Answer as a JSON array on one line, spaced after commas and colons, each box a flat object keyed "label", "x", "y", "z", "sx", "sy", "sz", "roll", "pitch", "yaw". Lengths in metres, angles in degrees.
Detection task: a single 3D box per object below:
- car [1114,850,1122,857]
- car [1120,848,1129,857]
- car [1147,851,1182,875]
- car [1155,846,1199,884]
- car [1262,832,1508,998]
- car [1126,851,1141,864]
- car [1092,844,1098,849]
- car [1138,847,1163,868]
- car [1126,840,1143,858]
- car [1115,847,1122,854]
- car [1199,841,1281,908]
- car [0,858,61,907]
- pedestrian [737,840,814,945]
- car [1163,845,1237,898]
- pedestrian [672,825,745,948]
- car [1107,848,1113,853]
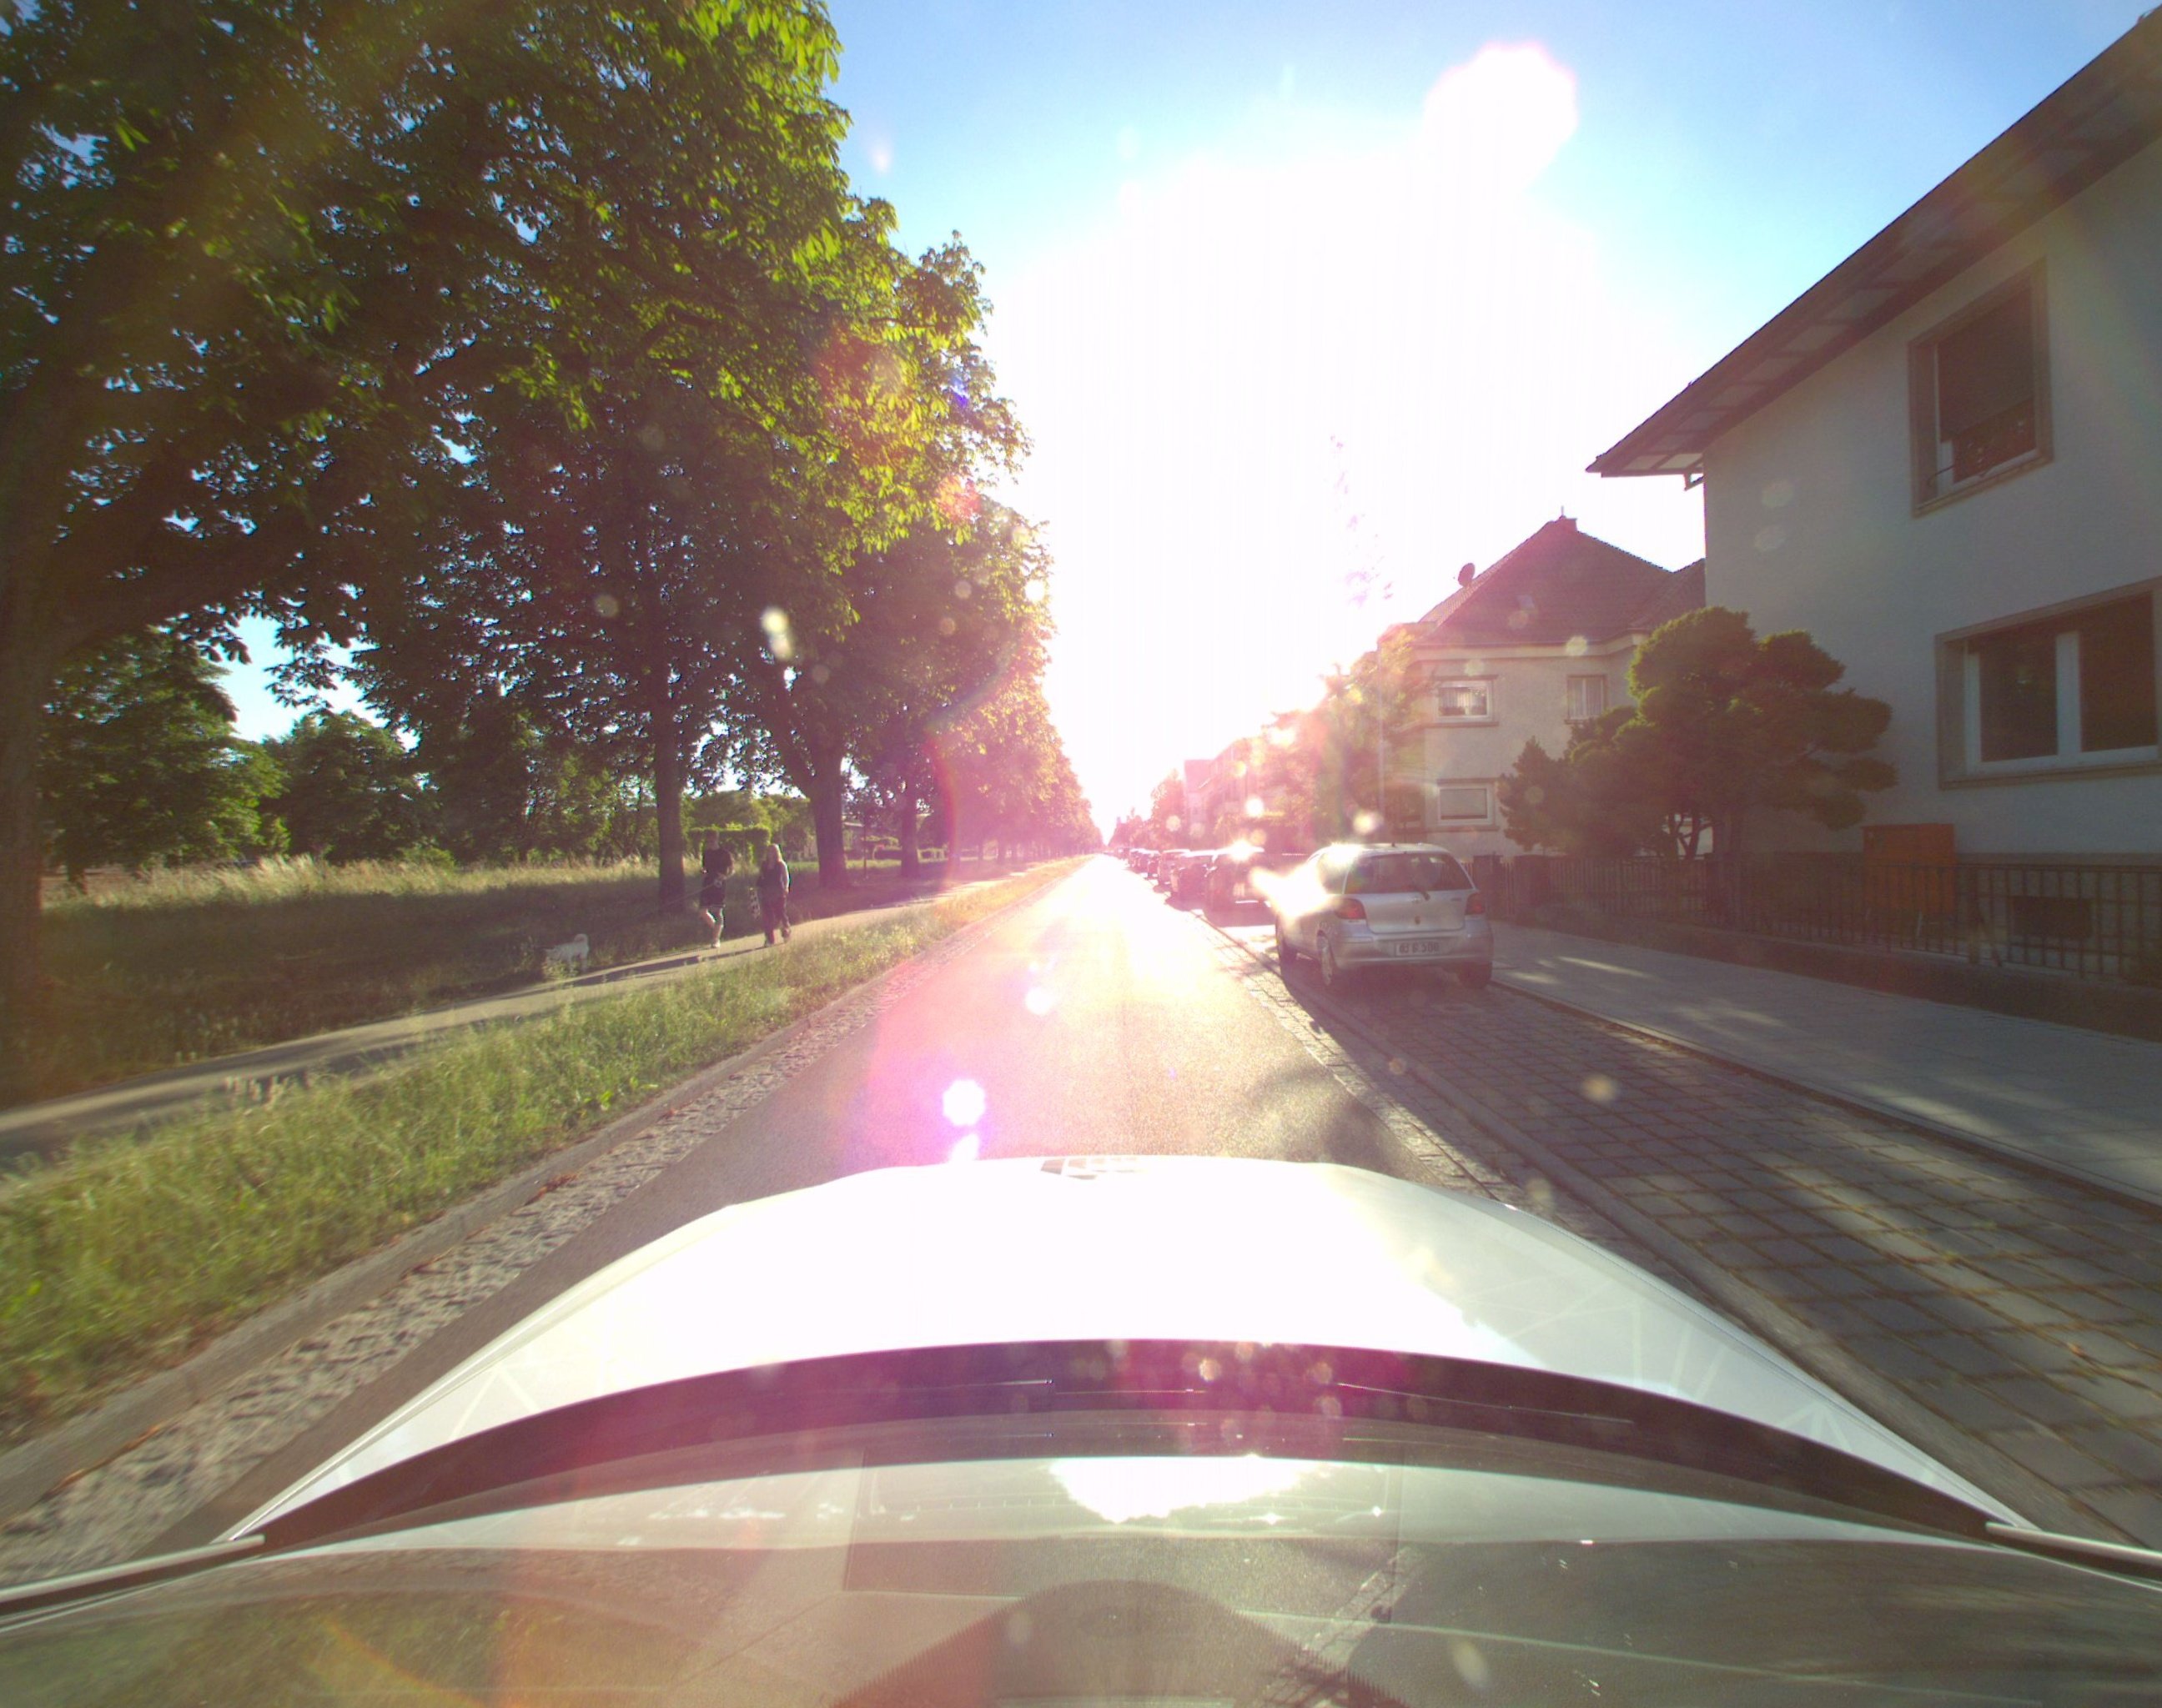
[{"label": "car", "x": 8.185, "y": -0.059, "z": 178.500, "sx": 1.645, "sy": 1.541, "sz": 3.269, "roll": 0, "pitch": 0, "yaw": 3}, {"label": "car", "x": 7.447, "y": -0.304, "z": 139.453, "sx": 1.645, "sy": 1.541, "sz": 3.269, "roll": 0, "pitch": 0, "yaw": 3}, {"label": "car", "x": 4.602, "y": 0.464, "z": 45.266, "sx": 1.686, "sy": 1.248, "sz": 3.500, "roll": -2, "pitch": 0, "yaw": 3}, {"label": "car", "x": 4.107, "y": 0.433, "z": 35.229, "sx": 1.586, "sy": 1.510, "sz": 3.594, "roll": -2, "pitch": 0, "yaw": 2}, {"label": "car", "x": 3.315, "y": 0.566, "z": 9.617, "sx": 1.621, "sy": 1.504, "sz": 3.635, "roll": -3, "pitch": 1, "yaw": 3}, {"label": "car", "x": 5.797, "y": 0.355, "z": 90.906, "sx": 1.587, "sy": 1.434, "sz": 3.269, "roll": -2, "pitch": 0, "yaw": 3}, {"label": "car", "x": 4.362, "y": -2.278, "z": 249.598, "sx": 1.646, "sy": 1.541, "sz": 3.268, "roll": 0, "pitch": 0, "yaw": 2}, {"label": "car", "x": 5.011, "y": 0.257, "z": 59.223, "sx": 1.645, "sy": 1.396, "sz": 3.269, "roll": -2, "pitch": 0, "yaw": 3}, {"label": "car", "x": 5.082, "y": -0.481, "z": 77.521, "sx": 1.492, "sy": 1.567, "sz": 3.269, "roll": -2, "pitch": 0, "yaw": 3}, {"label": "car", "x": 8.514, "y": -0.829, "z": 183.811, "sx": 1.645, "sy": 1.541, "sz": 3.269, "roll": 0, "pitch": 0, "yaw": 3}, {"label": "car", "x": 3.960, "y": 0.481, "z": 20.755, "sx": 1.649, "sy": 1.494, "sz": 3.722, "roll": -3, "pitch": 0, "yaw": 5}, {"label": "car", "x": -36.564, "y": 0.966, "z": 26.360, "sx": 1.686, "sy": 1.597, "sz": 4.222, "roll": -1, "pitch": 0, "yaw": 1}, {"label": "pedestrian", "x": -4.870, "y": 0.588, "z": 13.037, "sx": 0.779, "sy": 1.614, "sz": 0.953, "roll": -1, "pitch": 0, "yaw": 5}, {"label": "car", "x": 3.677, "y": 0.528, "z": 25.817, "sx": 1.731, "sy": 1.449, "sz": 4.197, "roll": -3, "pitch": 0, "yaw": 1}, {"label": "pedestrian", "x": -5.753, "y": 0.485, "z": 12.625, "sx": 0.621, "sy": 1.831, "sz": 0.887, "roll": -1, "pitch": 0, "yaw": 5}, {"label": "car", "x": 7.864, "y": -0.918, "z": 221.656, "sx": 1.646, "sy": 1.541, "sz": 3.268, "roll": 0, "pitch": 0, "yaw": 2}]
